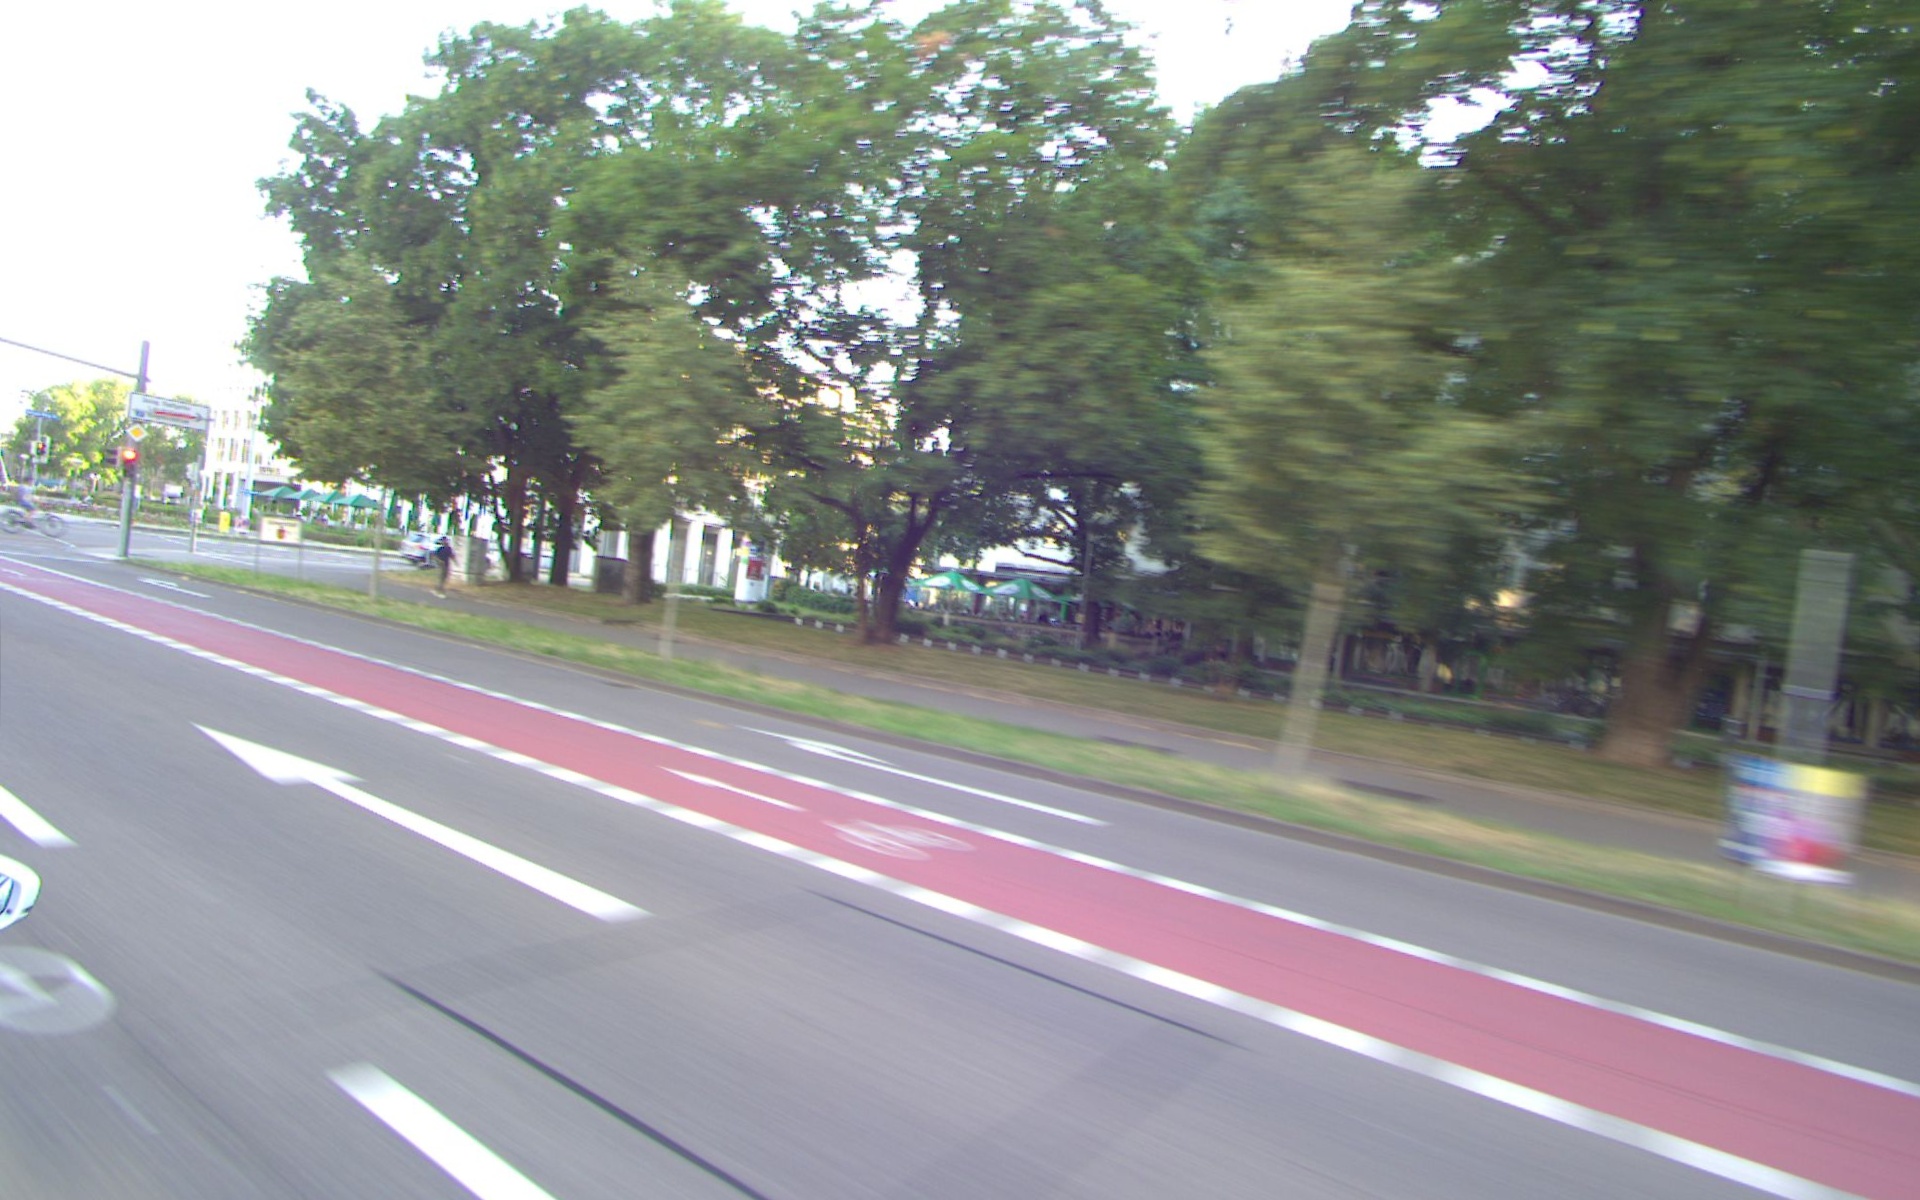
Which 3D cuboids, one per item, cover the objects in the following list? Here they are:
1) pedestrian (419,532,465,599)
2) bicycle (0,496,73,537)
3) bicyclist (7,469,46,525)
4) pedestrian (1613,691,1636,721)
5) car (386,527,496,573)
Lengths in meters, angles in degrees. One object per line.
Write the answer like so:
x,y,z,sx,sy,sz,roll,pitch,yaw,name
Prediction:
-14.289,-0.950,27.746,0.736,1.714,0.695,7,1,33,pedestrian
-31.066,-2.802,33.666,0.720,1.082,1.897,7,-1,37,bicycle
-31.102,-3.432,33.509,0.704,1.714,0.746,7,1,37,bicyclist
28.330,4.511,42.900,0.689,1.179,0.786,7,1,35,pedestrian
-26.004,-2.474,50.601,1.965,1.668,4.544,7,0,26,car
